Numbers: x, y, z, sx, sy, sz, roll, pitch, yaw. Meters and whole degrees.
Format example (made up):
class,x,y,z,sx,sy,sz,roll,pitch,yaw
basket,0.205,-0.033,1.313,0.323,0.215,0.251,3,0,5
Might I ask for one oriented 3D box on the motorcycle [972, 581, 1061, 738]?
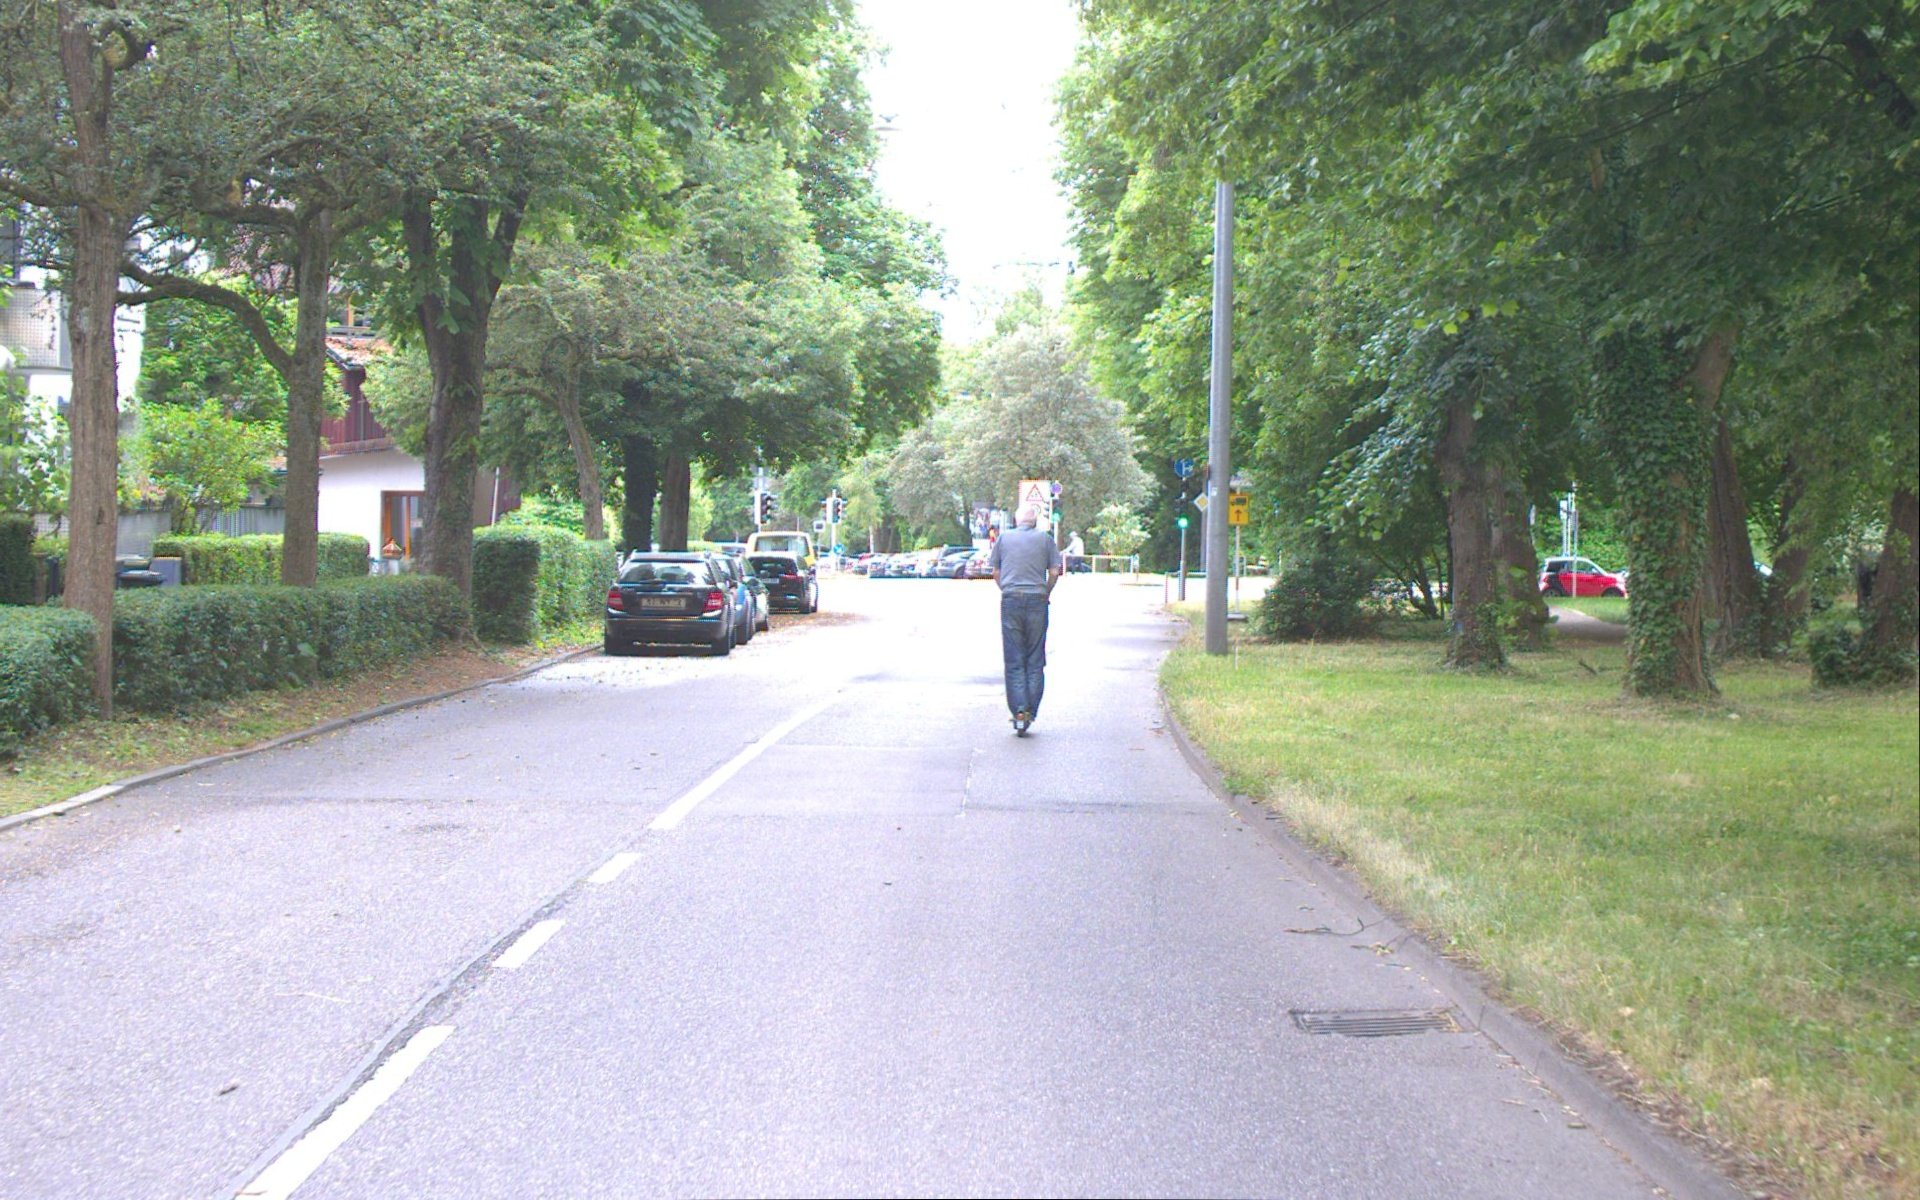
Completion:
class,x,y,z,sx,sy,sz,roll,pitch,yaw
motorcycle,0.470,0.473,28.116,0.673,1.213,1.274,2,1,2

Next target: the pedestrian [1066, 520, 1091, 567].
class,x,y,z,sx,sy,sz,roll,pitch,yaw
pedestrian,4.433,-2.125,128.612,0.733,1.756,0.661,0,0,20

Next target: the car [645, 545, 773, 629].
class,x,y,z,sx,sy,sz,roll,pitch,yaw
car,-4.352,-0.254,60.193,1.794,1.405,4.645,0,1,1

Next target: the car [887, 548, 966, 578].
class,x,y,z,sx,sy,sz,roll,pitch,yaw
car,-1.711,-1.861,174.129,3.986,1.505,1.800,0,1,-2

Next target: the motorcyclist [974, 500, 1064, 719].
class,x,y,z,sx,sy,sz,roll,pitch,yaw
motorcyclist,0.488,0.076,28.241,0.673,1.755,0.639,2,1,2

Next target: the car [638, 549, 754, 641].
class,x,y,z,sx,sy,sz,roll,pitch,yaw
car,-4.145,-0.102,54.376,1.664,1.387,3.707,0,1,-2

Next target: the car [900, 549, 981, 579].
class,x,y,z,sx,sy,sz,roll,pitch,yaw
car,-0.982,-1.809,172.223,3.986,1.505,1.800,0,1,-2

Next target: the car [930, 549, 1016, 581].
class,x,y,z,sx,sy,sz,roll,pitch,yaw
car,0.602,-1.635,161.486,3.986,1.505,1.800,0,1,-2

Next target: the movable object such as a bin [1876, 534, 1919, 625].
class,x,y,z,sx,sy,sz,roll,pitch,yaw
movable object such as a bin,16.274,-0.355,57.844,1.326,1.496,1.315,0,1,-2

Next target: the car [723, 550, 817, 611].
class,x,y,z,sx,sy,sz,roll,pitch,yaw
car,-4.410,-0.461,80.533,1.892,1.405,4.554,0,0,1

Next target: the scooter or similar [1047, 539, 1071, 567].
class,x,y,z,sx,sy,sz,roll,pitch,yaw
scooter or similar,3.708,-1.769,128.836,0.711,1.045,0.786,0,0,20

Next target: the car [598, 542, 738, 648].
class,x,y,z,sx,sy,sz,roll,pitch,yaw
car,-4.156,-0.106,49.472,1.794,1.467,4.418,0,1,-2

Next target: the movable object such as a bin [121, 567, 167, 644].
class,x,y,z,sx,sy,sz,roll,pitch,yaw
movable object such as a bin,-9.674,0.064,40.771,0.456,0.912,0.508,0,1,-6

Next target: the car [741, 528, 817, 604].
class,x,y,z,sx,sy,sz,roll,pitch,yaw
car,-4.847,-0.895,91.431,1.857,1.957,4.505,0,0,-5

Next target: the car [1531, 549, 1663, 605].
class,x,y,z,sx,sy,sz,roll,pitch,yaw
car,20.331,-0.741,109.696,3.989,1.551,1.799,2,4,13

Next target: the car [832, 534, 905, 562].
class,x,y,z,sx,sy,sz,roll,pitch,yaw
car,-5.033,-2.851,188.805,3.986,1.505,1.800,0,1,-2
